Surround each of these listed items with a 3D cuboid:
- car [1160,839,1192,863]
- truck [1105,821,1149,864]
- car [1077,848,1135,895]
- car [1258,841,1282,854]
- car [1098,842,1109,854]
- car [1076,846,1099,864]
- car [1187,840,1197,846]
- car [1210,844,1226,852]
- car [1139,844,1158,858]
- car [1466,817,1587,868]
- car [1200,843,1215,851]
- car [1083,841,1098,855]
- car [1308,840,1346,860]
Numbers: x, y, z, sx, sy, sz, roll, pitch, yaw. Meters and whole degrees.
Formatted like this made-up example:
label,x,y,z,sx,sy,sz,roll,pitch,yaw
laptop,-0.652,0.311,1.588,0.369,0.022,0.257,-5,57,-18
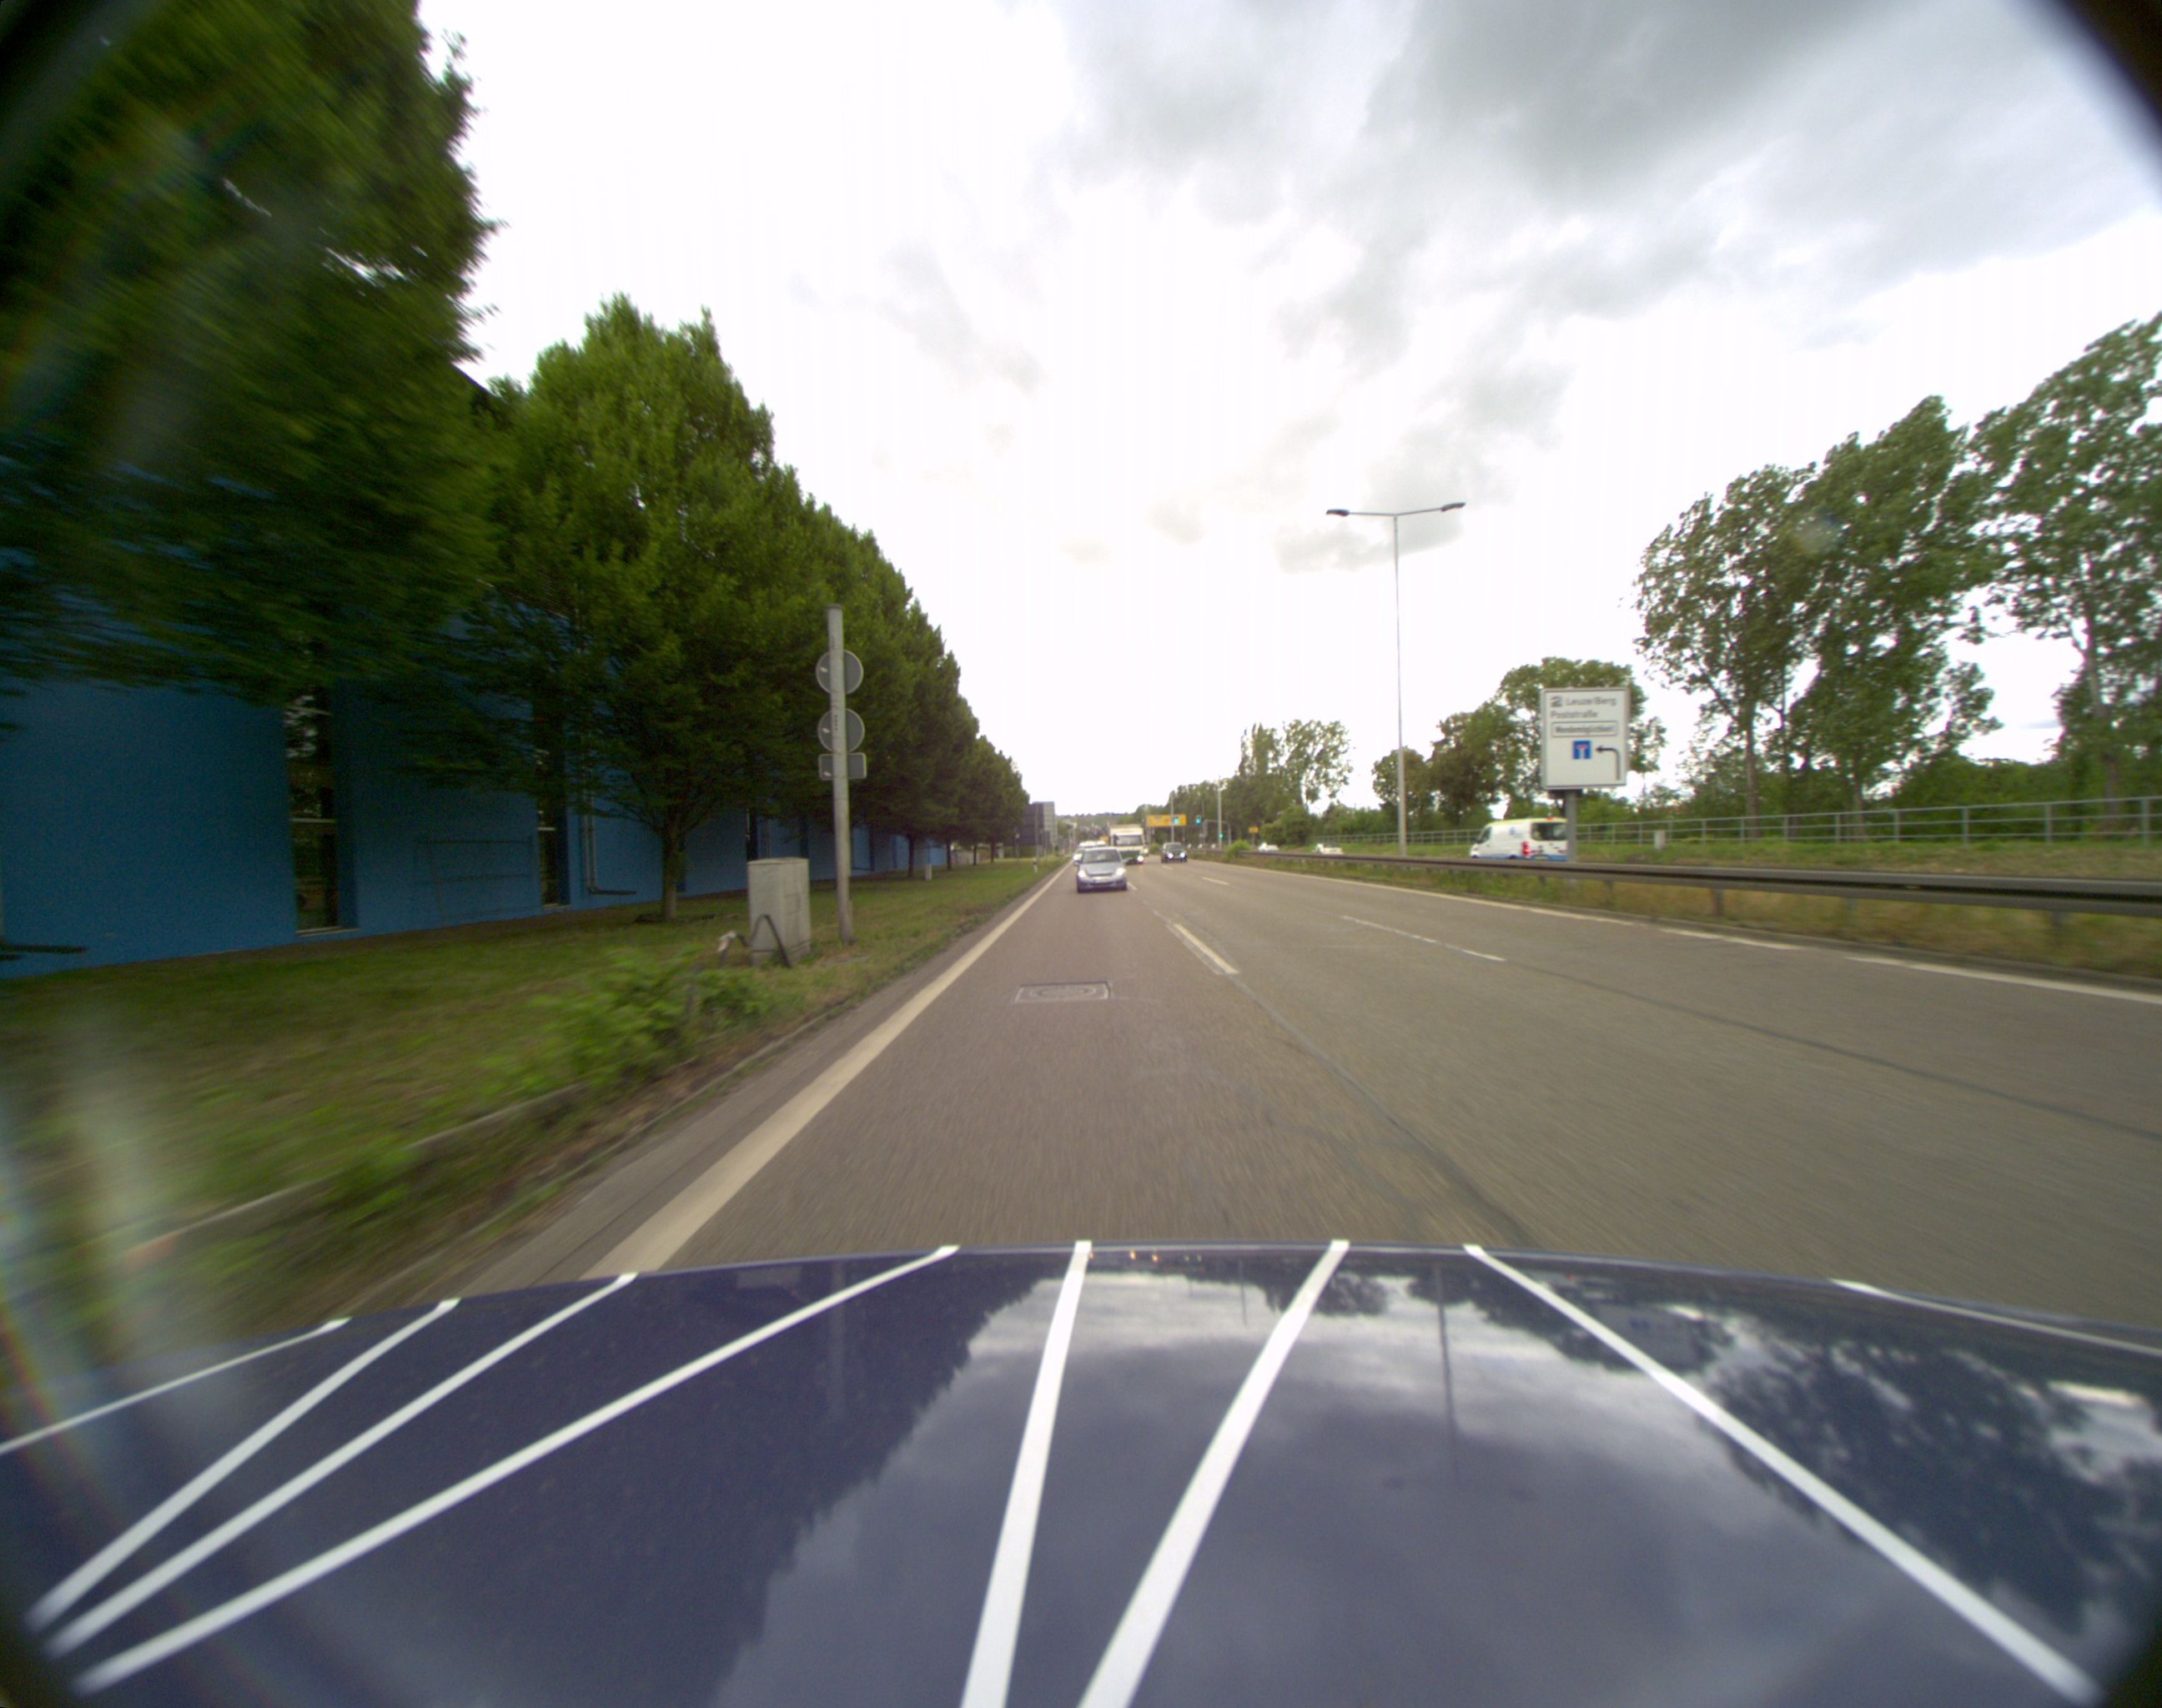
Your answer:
label,x,y,z,sx,sy,sz,roll,pitch,yaw
car,7.214,-0.251,58.095,1.883,1.715,4.146,-2,0,-1
truck,3.656,-0.879,63.141,2.657,3.121,12.507,-2,0,0
car,0.846,0.591,28.070,1.883,1.530,4.146,-3,0,0
car,23.730,-0.831,95.556,1.883,1.481,4.202,-2,0,1
car,4.343,-1.195,146.458,1.949,2.176,4.000,-2,0,0
car,0.540,0.096,68.101,1.949,1.517,4.000,-2,0,0
car,23.678,-2.309,161.646,1.582,1.291,4.061,-2,0,1
car,23.516,-1.034,130.513,1.664,1.291,4.787,-2,0,0
car,8.400,-0.356,94.225,1.883,1.715,4.146,-2,0,-1
car,19.090,-0.486,32.953,2.231,1.937,5.474,-1,1,3
car,20.220,-1.099,121.620,1.664,1.291,4.787,-2,0,0
car,1.337,-0.800,104.231,1.883,1.715,4.146,-2,0,-1
car,19.137,-0.310,59.246,1.663,1.390,3.989,-2,0,1
